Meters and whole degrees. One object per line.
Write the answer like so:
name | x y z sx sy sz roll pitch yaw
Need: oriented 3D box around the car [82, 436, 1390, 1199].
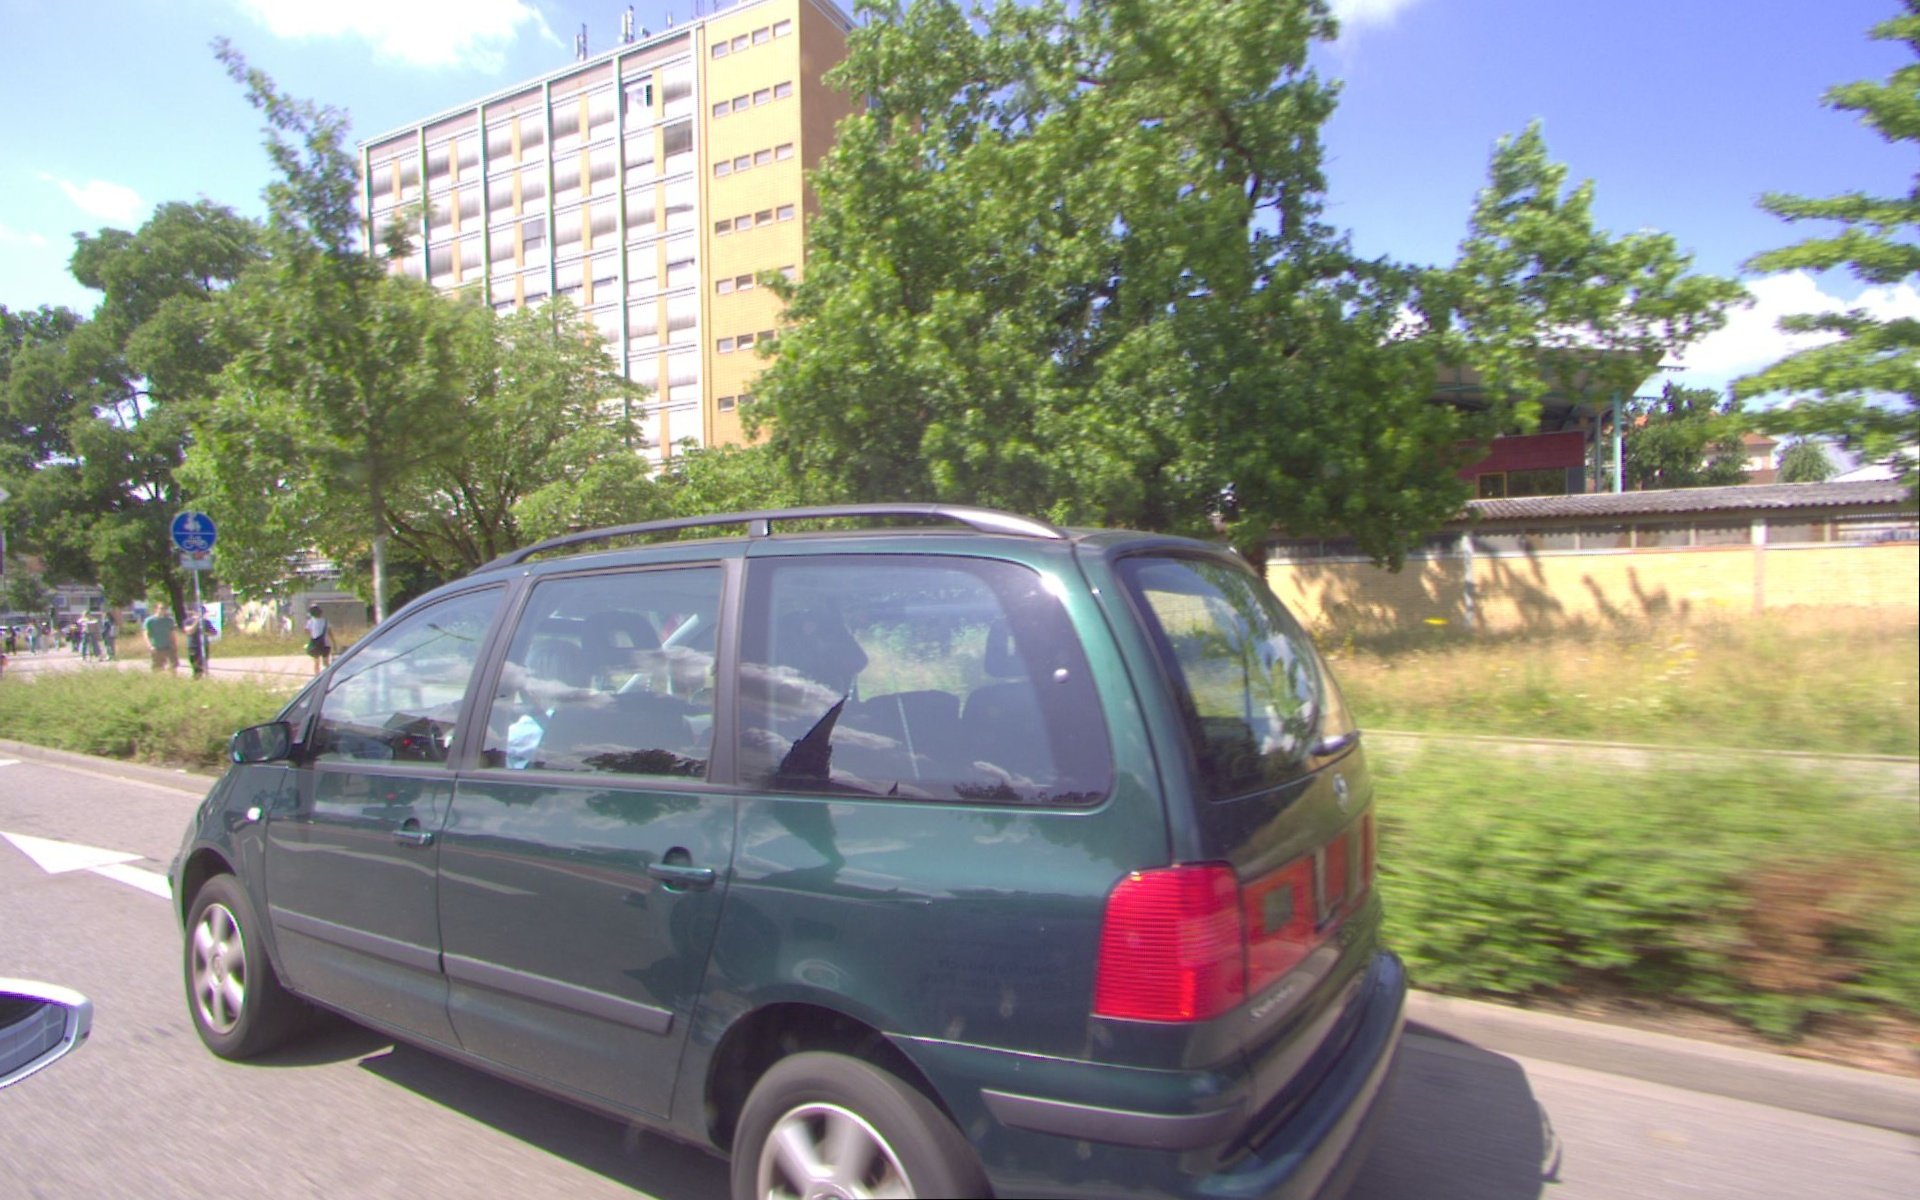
car | -1.012 0.678 3.441 4.383 1.745 1.792 -1 -2 32

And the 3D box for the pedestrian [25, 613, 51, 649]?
pedestrian | -48.555 1.629 52.736 0.769 1.846 0.753 -1 3 33

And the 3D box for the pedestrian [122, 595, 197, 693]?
pedestrian | -15.294 0.826 19.139 0.867 1.802 0.749 0 2 26

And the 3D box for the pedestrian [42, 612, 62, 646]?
pedestrian | -49.771 1.587 54.878 0.630 1.844 0.752 -1 -1 39

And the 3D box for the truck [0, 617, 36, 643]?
truck | -112.413 3.543 116.929 2.843 2.890 8.778 -1 0 -16

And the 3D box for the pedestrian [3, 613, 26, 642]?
pedestrian | -51.917 1.510 54.970 0.751 1.610 0.754 -1 -1 33

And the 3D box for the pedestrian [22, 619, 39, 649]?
pedestrian | -50.360 1.840 54.277 0.719 1.647 0.585 -1 -1 40

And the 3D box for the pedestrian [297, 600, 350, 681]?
pedestrian | -13.189 0.828 20.747 0.638 1.618 0.665 0 2 31

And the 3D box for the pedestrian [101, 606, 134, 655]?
pedestrian | -30.981 1.110 36.823 0.602 1.776 0.746 0 2 38

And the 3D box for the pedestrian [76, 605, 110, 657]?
pedestrian | -31.126 1.112 35.944 0.602 1.827 0.746 0 2 38

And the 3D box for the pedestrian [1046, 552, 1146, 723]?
pedestrian | 1.475 0.384 10.852 0.865 1.774 0.665 0 2 31

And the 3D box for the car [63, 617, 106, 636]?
car | -81.923 2.451 93.771 1.856 1.663 3.944 -1 0 -23

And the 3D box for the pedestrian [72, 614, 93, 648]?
pedestrian | -46.946 1.663 53.555 0.666 1.844 0.752 -1 -1 41

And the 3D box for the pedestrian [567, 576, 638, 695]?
pedestrian | -5.514 0.528 15.469 0.657 1.774 0.747 0 2 31

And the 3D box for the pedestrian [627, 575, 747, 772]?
pedestrian | -2.580 0.660 9.480 0.835 1.774 0.665 0 2 31

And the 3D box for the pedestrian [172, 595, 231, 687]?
pedestrian | -14.998 0.807 19.813 0.599 1.770 0.666 0 2 25

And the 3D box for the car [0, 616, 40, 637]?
car | -80.679 2.241 85.481 1.856 1.663 3.944 -1 0 -23
